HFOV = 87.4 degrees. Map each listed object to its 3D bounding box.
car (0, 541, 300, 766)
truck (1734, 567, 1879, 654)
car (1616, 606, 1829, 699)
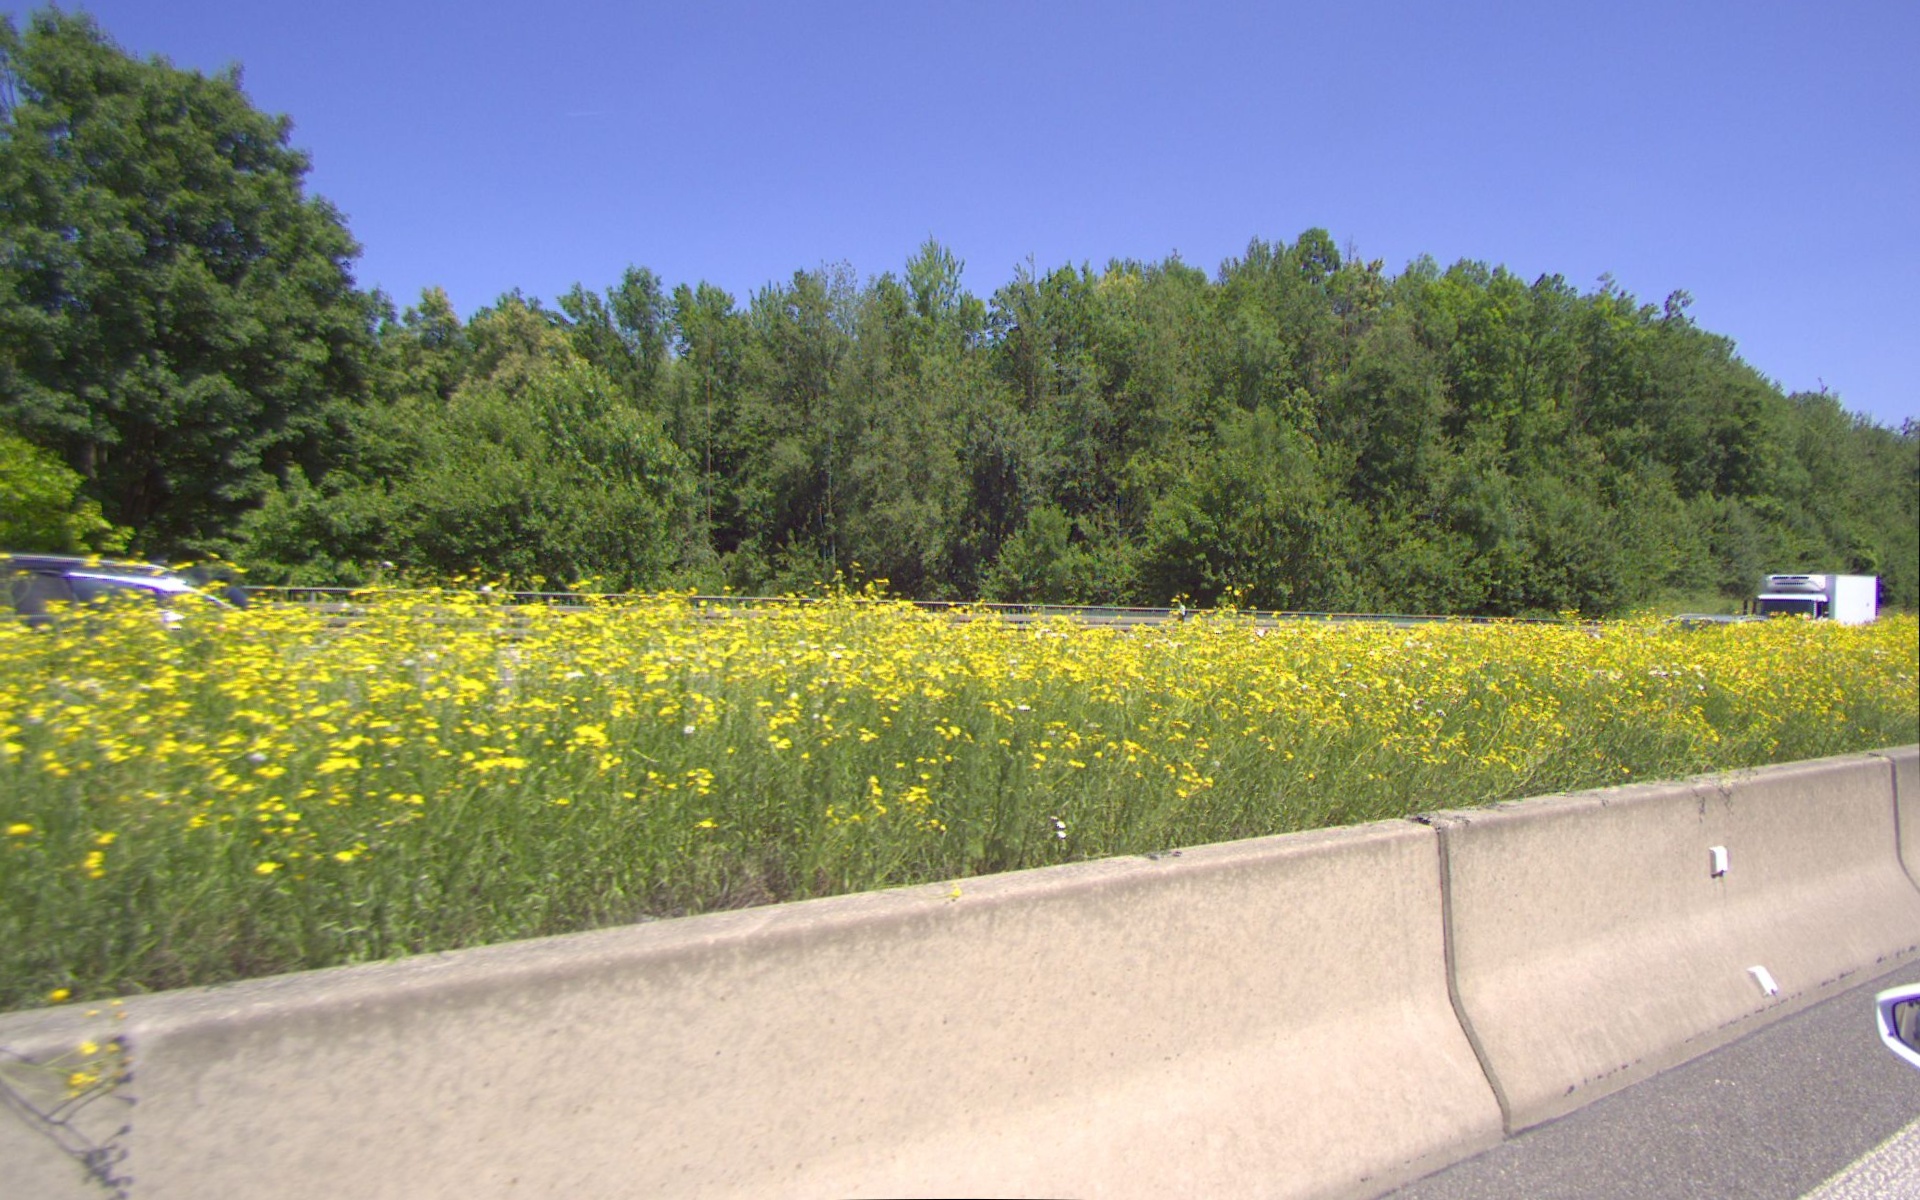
[{"bbox_3d":[-7.832,0.332,7.447,4.743,1.550,2.127,1,0,-30],"label":"car"},{"bbox_3d":[37.161,0.482,44.032,7.233,3.521,2.721,1,1,-32],"label":"truck"},{"bbox_3d":[14.570,0.954,19.161,4.107,1.565,1.777,1,1,-30],"label":"car"}]
